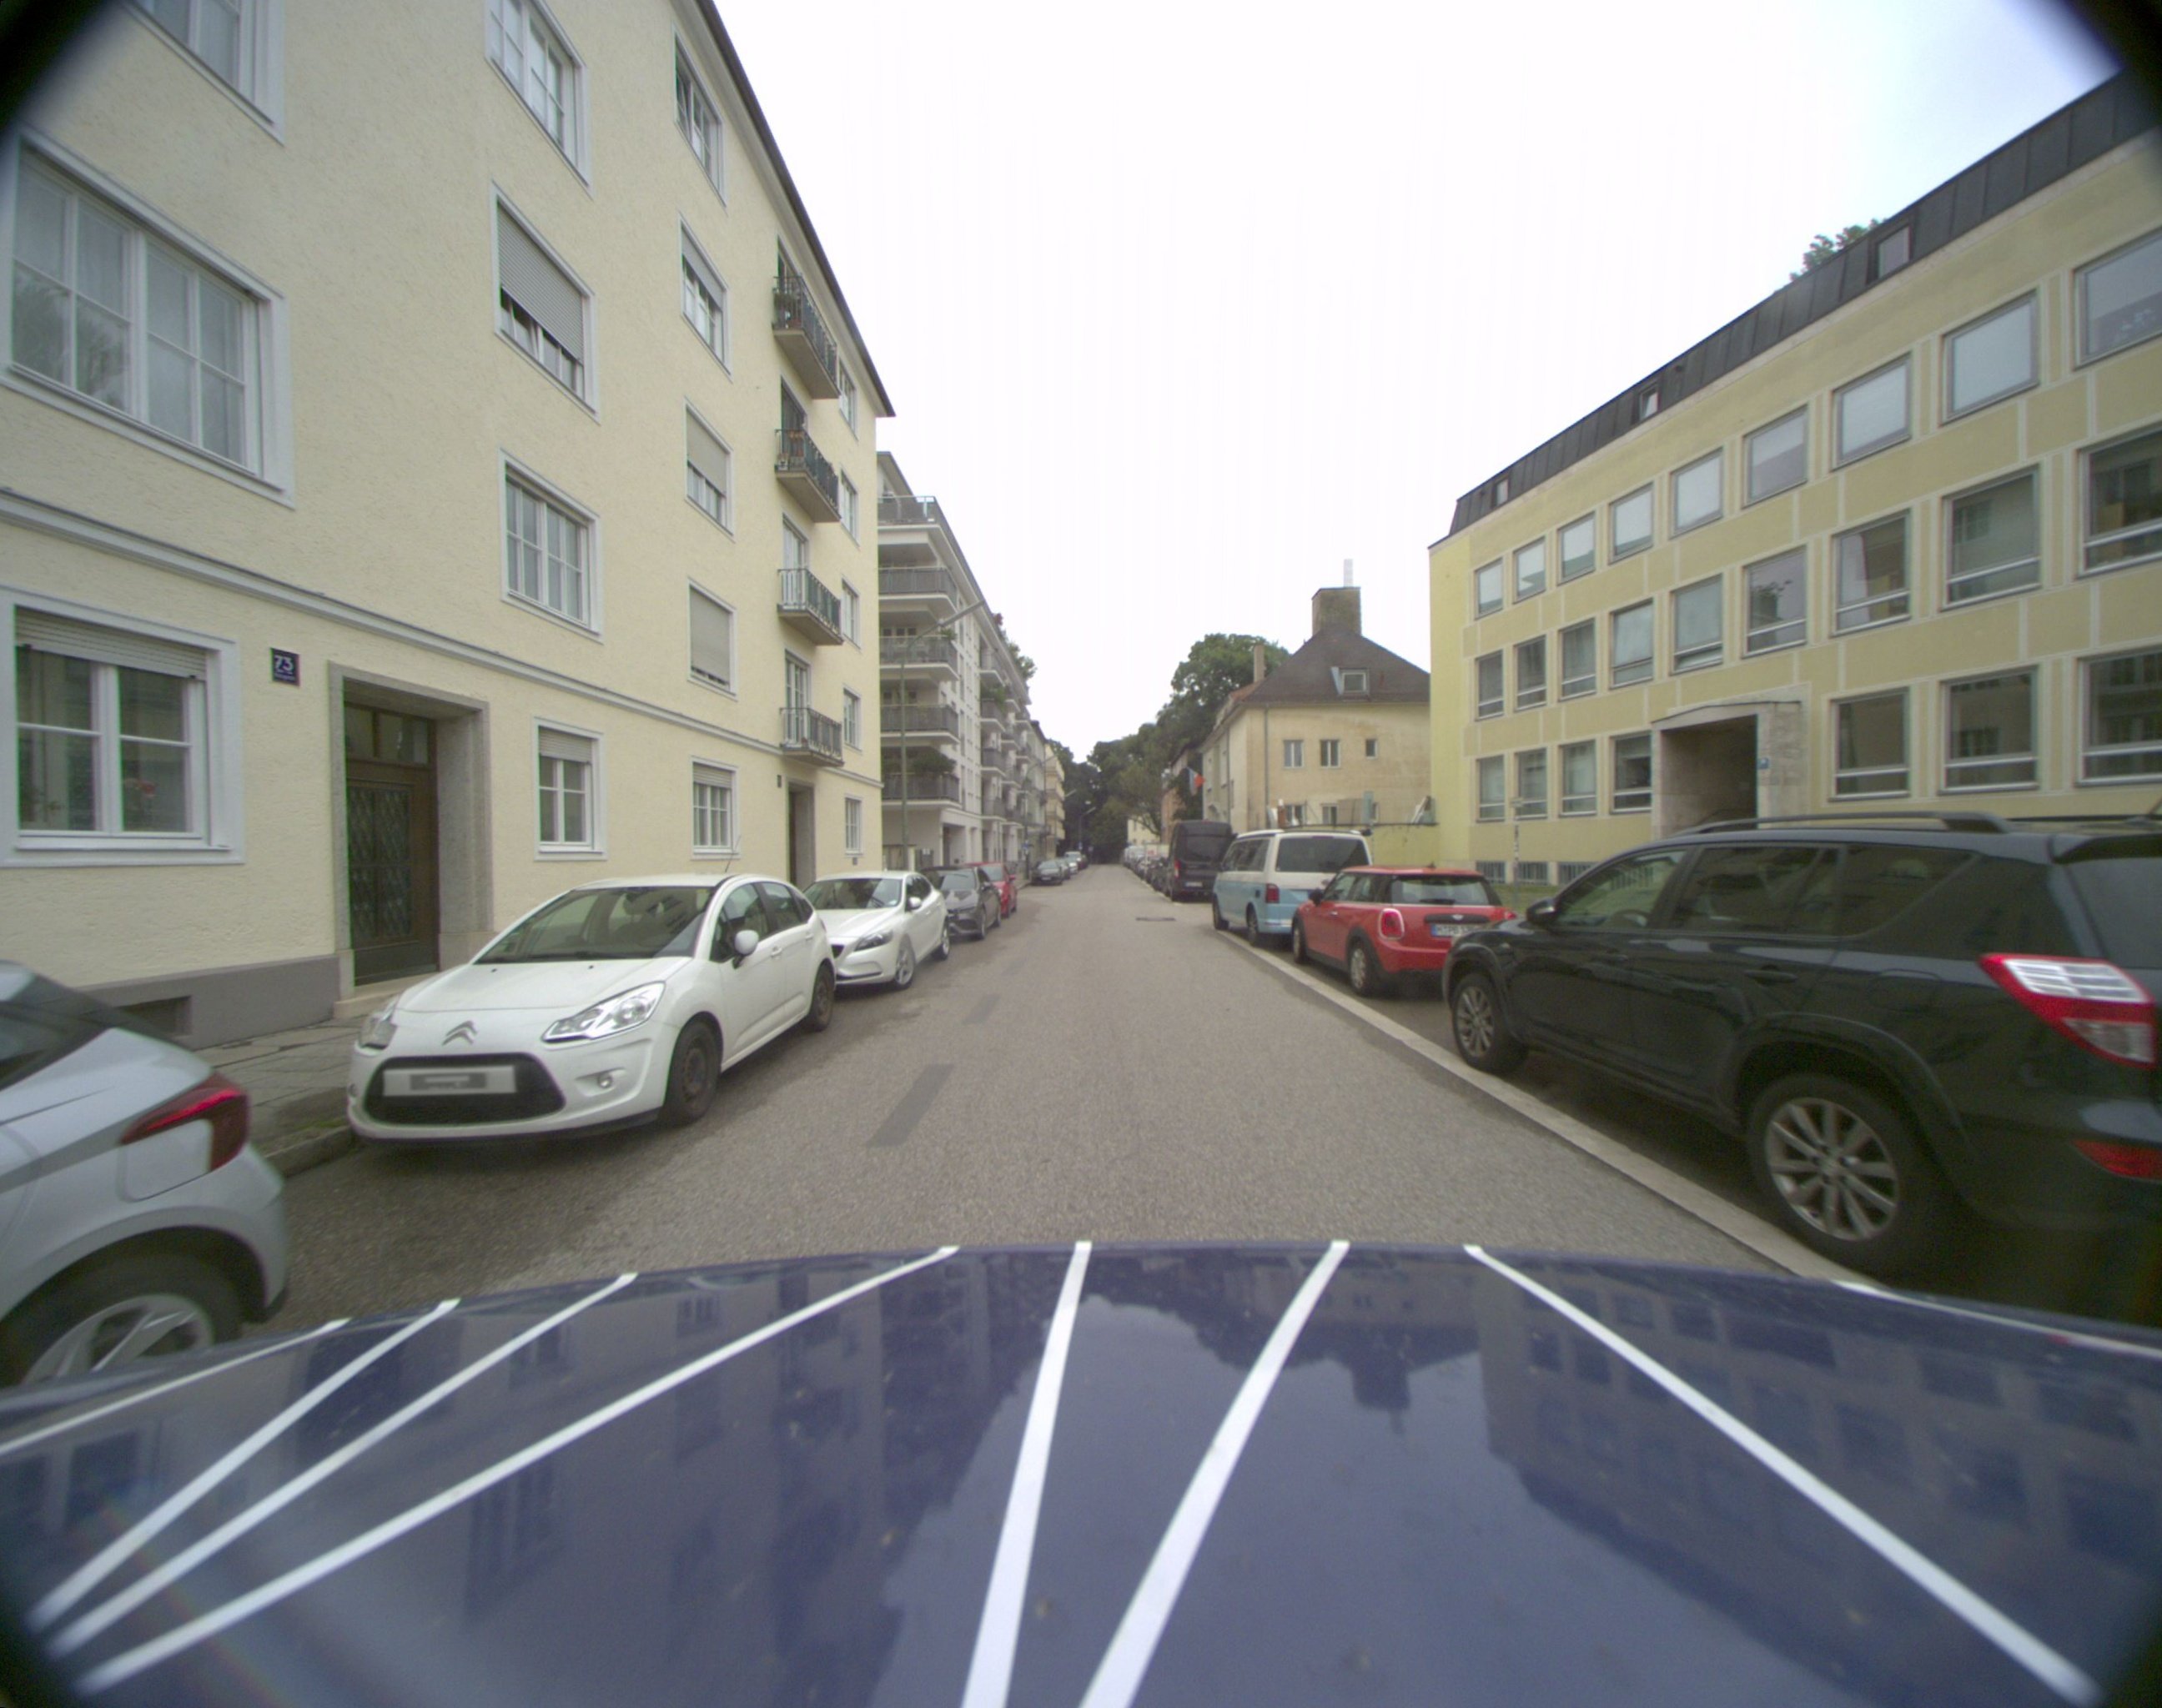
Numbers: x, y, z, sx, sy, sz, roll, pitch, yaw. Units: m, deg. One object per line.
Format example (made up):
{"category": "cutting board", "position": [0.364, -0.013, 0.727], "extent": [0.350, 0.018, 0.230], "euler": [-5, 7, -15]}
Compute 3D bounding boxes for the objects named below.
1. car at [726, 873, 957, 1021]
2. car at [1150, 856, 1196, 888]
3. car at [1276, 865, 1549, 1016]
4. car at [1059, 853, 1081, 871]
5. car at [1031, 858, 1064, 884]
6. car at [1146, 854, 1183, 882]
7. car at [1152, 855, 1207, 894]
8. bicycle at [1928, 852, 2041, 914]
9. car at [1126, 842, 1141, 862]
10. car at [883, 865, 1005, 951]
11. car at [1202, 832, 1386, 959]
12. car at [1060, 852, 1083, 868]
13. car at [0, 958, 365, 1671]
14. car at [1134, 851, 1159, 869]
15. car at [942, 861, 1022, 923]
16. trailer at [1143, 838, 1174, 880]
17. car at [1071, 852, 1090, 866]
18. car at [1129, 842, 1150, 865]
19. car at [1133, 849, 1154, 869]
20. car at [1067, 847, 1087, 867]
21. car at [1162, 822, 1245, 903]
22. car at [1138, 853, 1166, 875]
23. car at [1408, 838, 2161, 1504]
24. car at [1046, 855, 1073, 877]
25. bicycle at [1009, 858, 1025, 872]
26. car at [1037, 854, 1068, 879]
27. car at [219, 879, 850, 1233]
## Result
{"category": "car", "position": [-2.912, 1.049, 10.318], "extent": [1.683, 1.402, 4.442], "euler": [-1, 0, 0]}
{"category": "car", "position": [4.440, 0.830, 37.093], "extent": [1.697, 1.417, 4.069], "euler": [0, 1, -1]}
{"category": "car", "position": [3.810, 0.898, 9.549], "extent": [1.748, 1.379, 3.918], "euler": [-2, 0, 1]}
{"category": "car", "position": [-0.894, 0.704, 66.016], "extent": [1.766, 1.449, 3.747], "euler": [-1, 0, 1]}
{"category": "car", "position": [-1.940, 0.958, 44.809], "extent": [1.784, 1.385, 4.245], "euler": [-1, 0, -2]}
{"category": "car", "position": [4.722, 0.760, 43.384], "extent": [1.817, 1.491, 4.644], "euler": [0, 1, 3]}
{"category": "car", "position": [4.149, 0.827, 32.480], "extent": [1.706, 1.485, 3.488], "euler": [-1, 0, -3]}
{"category": "bicycle", "position": [16.529, 0.510, 13.901], "extent": [1.954, 1.008, 0.580], "euler": [-3, 1, -16]}
{"category": "car", "position": [6.735, -0.235, 98.211], "extent": [1.880, 2.539, 4.370], "euler": [-1, 1, 3]}
{"category": "car", "position": [-2.683, 1.008, 15.867], "extent": [1.683, 1.402, 4.421], "euler": [-1, 0, 0]}
{"category": "car", "position": [3.710, 0.628, 14.292], "extent": [1.933, 1.967, 5.021], "euler": [0, 0, -1]}
{"category": "car", "position": [-0.881, 0.585, 72.571], "extent": [1.765, 1.449, 3.748], "euler": [-1, 0, 4]}
{"category": "car", "position": [-3.175, 1.079, 0.372], "extent": [1.683, 1.419, 4.166], "euler": [-1, 0, -1]}
{"category": "car", "position": [5.626, 0.500, 65.481], "extent": [1.818, 1.444, 3.928], "euler": [-1, 0, 1]}
{"category": "car", "position": [-2.660, 0.978, 21.269], "extent": [1.683, 1.489, 3.823], "euler": [-1, 0, 0]}
{"category": "trailer", "position": [5.033, 0.304, 49.000], "extent": [1.817, 2.521, 3.390], "euler": [2, 1, 6]}
{"category": "car", "position": [-0.049, 0.537, 86.862], "extent": [1.871, 1.455, 4.268], "euler": [-1, 0, 2]}
{"category": "car", "position": [6.296, -0.061, 81.850], "extent": [2.104, 2.418, 4.550], "euler": [-1, 1, 4]}
{"category": "car", "position": [5.861, 0.434, 71.385], "extent": [1.817, 1.723, 3.650], "euler": [-1, 1, 2]}
{"category": "car", "position": [-0.428, 0.265, 81.093], "extent": [1.871, 2.002, 4.268], "euler": [-1, 1, 2]}
{"category": "car", "position": [4.253, 0.264, 27.302], "extent": [2.302, 2.630, 5.654], "euler": [0, 0, 3]}
{"category": "car", "position": [5.078, 0.702, 54.463], "extent": [1.767, 1.505, 3.842], "euler": [0, 1, 2]}
{"category": "car", "position": [3.599, 0.811, 4.055], "extent": [1.748, 1.656, 4.448], "euler": [2, 0, 0]}
{"category": "car", "position": [-1.490, 0.809, 54.126], "extent": [1.766, 1.449, 3.747], "euler": [-1, 0, 1]}
{"category": "bicycle", "position": [-4.901, 0.840, 58.664], "extent": [0.580, 1.008, 1.955], "euler": [-2, 1, 14]}
{"category": "car", "position": [-1.811, 0.788, 49.465], "extent": [1.766, 1.449, 3.418], "euler": [-1, 0, 1]}
{"category": "car", "position": [-3.204, 1.020, 5.672], "extent": [1.683, 1.473, 4.166], "euler": [-1, 0, -1]}
